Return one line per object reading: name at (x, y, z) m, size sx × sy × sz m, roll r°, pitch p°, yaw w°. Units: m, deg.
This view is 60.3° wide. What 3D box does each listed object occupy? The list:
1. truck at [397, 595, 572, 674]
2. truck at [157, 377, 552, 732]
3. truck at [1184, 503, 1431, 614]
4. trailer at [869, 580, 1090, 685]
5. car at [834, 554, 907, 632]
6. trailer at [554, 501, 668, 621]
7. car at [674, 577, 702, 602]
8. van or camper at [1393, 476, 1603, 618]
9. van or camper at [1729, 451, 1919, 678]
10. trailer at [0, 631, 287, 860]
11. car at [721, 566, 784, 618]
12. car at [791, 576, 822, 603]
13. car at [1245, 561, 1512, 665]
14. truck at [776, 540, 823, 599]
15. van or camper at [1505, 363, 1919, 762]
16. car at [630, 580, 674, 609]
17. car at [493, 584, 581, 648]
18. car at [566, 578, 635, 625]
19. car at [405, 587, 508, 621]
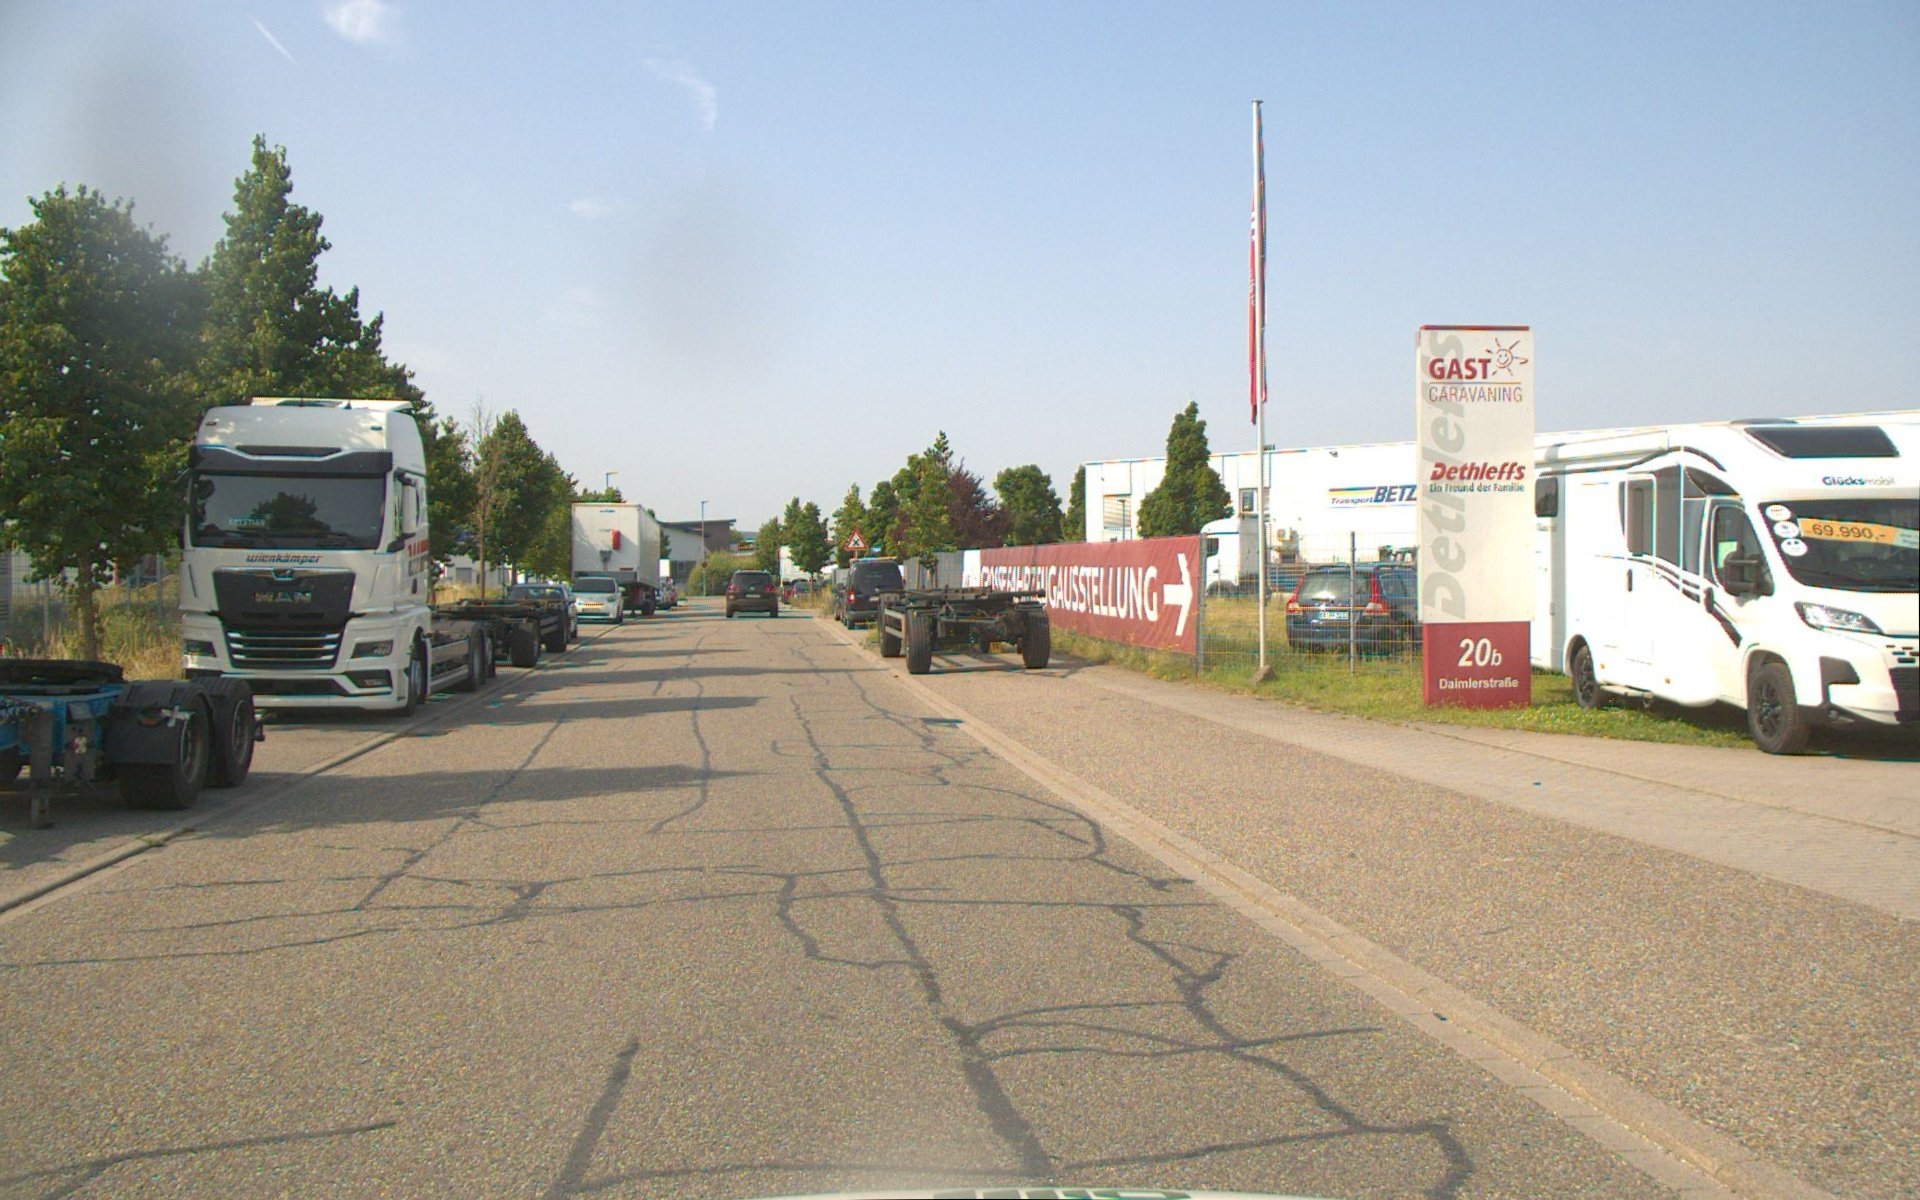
truck at (-9.436, 0.616, 33.439) m, size 2.477 × 1.287 × 6.515 m, roll -1°, pitch 1°, yaw -8°
truck at (-8.435, -0.601, 25.186) m, size 2.576 × 3.997 × 12.902 m, roll 0°, pitch 1°, yaw -6°
truck at (13.291, -1.563, 63.886) m, size 9.126 × 4.041 × 2.450 m, roll 0°, pitch 1°, yaw 36°
trailer at (0.044, 0.431, 29.575) m, size 2.574 × 1.412 × 9.439 m, roll -3°, pitch 1°, yaw -8°
car at (-2.596, -0.235, 47.162) m, size 1.784 × 2.012 × 3.996 m, roll -4°, pitch 2°, yaw -6°
trailer at (-14.165, -1.534, 68.345) m, size 3.339 × 4.416 × 13.898 m, roll -1°, pitch 1°, yaw -7°
car at (-20.419, -0.779, 124.377) m, size 1.956 × 1.803 × 3.993 m, roll -1°, pitch 1°, yaw -8°
van or camper at (13.188, -1.289, 40.183) m, size 2.620 × 3.137 × 6.762 m, roll 0°, pitch 2°, yaw 39°
van or camper at (12.362, -0.515, 22.126) m, size 2.442 × 2.603 × 6.599 m, roll 0°, pitch 2°, yaw 37°
trailer at (-6.802, 0.883, 11.725) m, size 2.525 × 1.119 × 5.192 m, roll -1°, pitch 1°, yaw -8°
car at (-7.569, -0.330, 60.584) m, size 1.954 × 1.836 × 3.998 m, roll 0°, pitch 1°, yaw -3°
car at (-9.125, -0.662, 98.196) m, size 1.783 × 1.474 × 3.797 m, roll -2°, pitch 2°, yaw -6°
car at (6.649, 0.154, 26.151) m, size 3.958 × 1.502 × 2.144 m, roll -1°, pitch 1°, yaw -38°
truck at (-10.604, -2.009, 108.966) m, size 2.831 × 3.648 × 8.052 m, roll -2°, pitch 1°, yaw -6°
van or camper at (7.539, -0.362, 15.951) m, size 2.283 × 2.994 × 6.972 m, roll -1°, pitch 1°, yaw 0°
car at (-17.407, -0.330, 93.502) m, size 1.954 × 1.549 × 3.997 m, roll -1°, pitch 1°, yaw -4°
car at (-10.430, 0.351, 41.008) m, size 1.851 × 1.461 × 3.989 m, roll -1°, pitch 1°, yaw -11°
car at (-11.769, 0.035, 54.377) m, size 1.776 × 1.452 × 3.995 m, roll -1°, pitch 1°, yaw -6°
car at (-21.623, 0.176, 71.169) m, size 3.906 × 1.363 × 1.617 m, roll -1°, pitch 1°, yaw -1°
